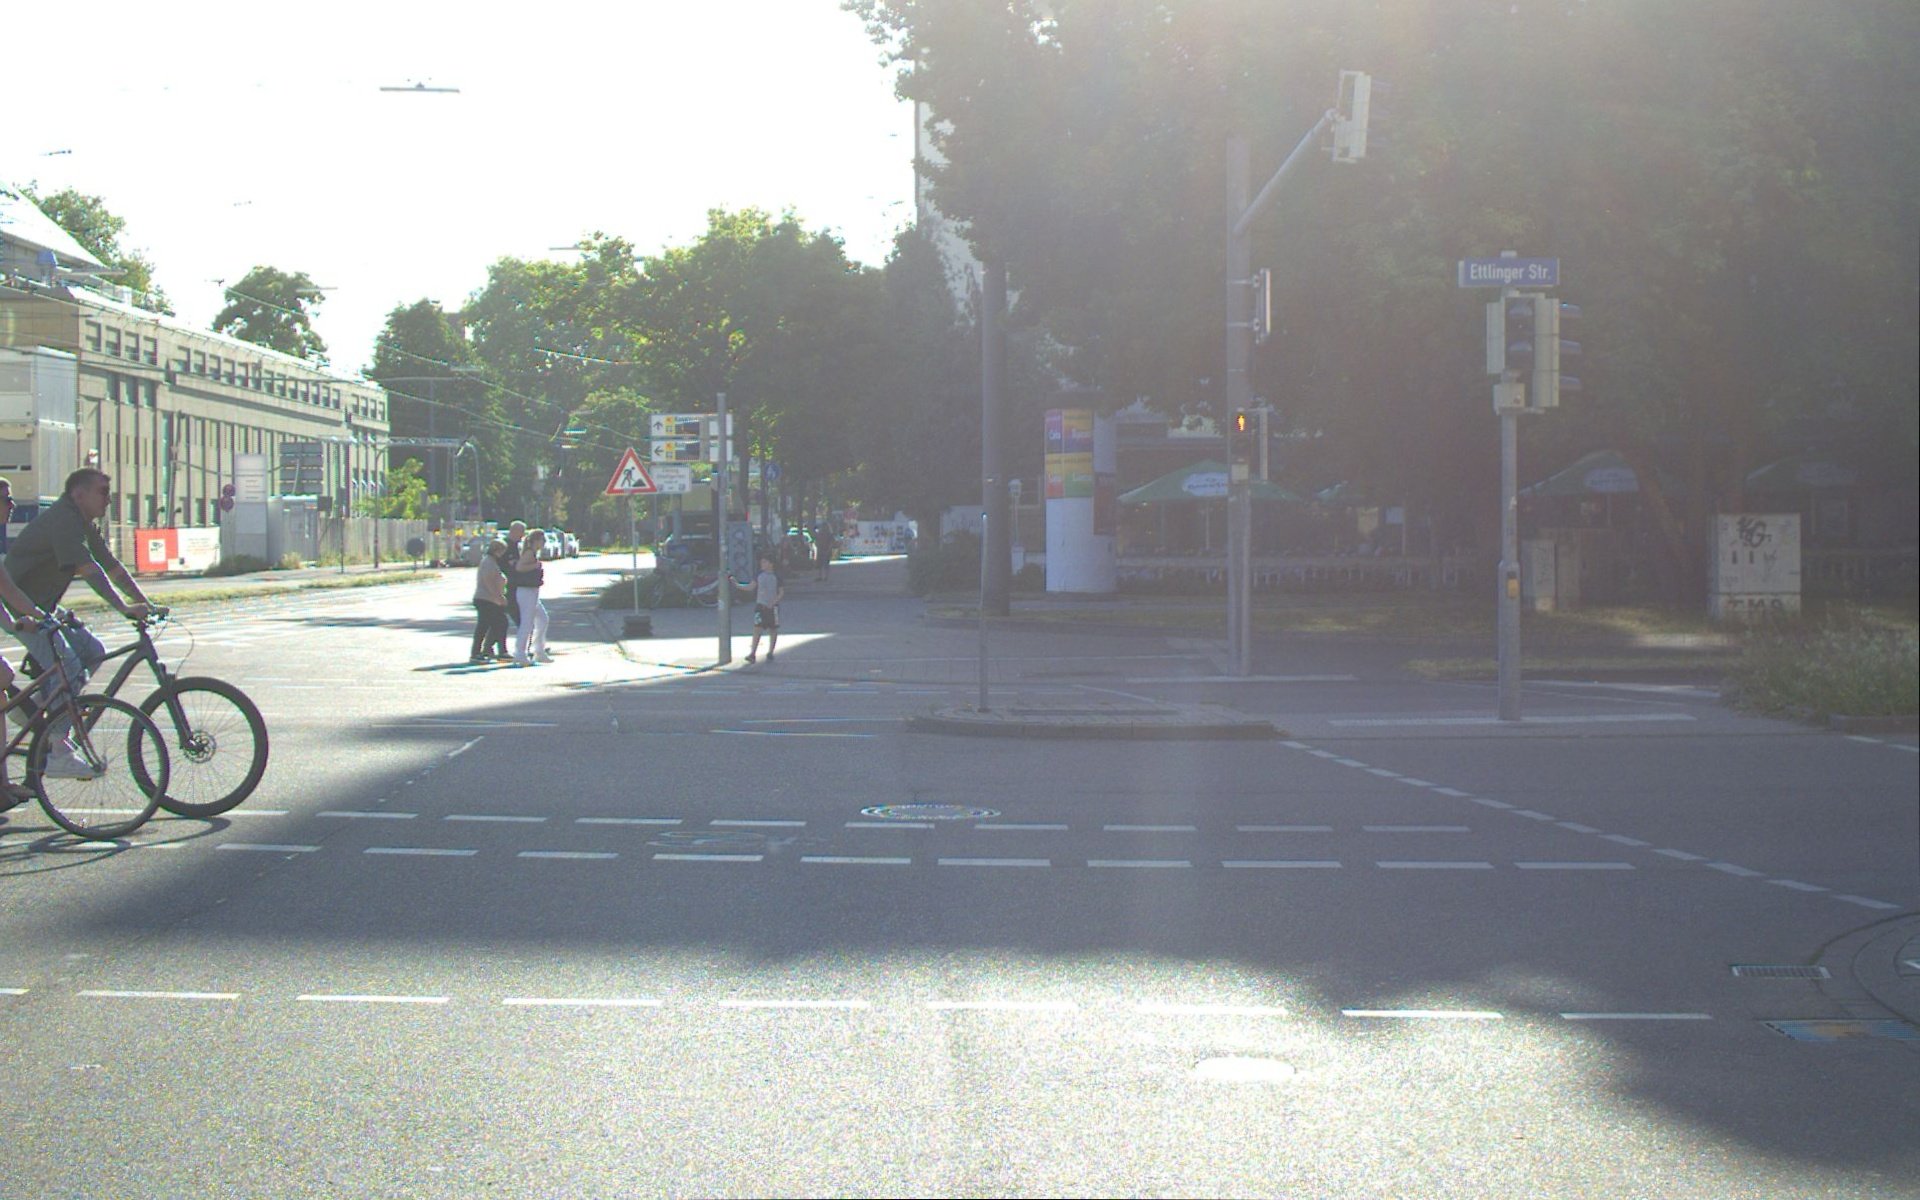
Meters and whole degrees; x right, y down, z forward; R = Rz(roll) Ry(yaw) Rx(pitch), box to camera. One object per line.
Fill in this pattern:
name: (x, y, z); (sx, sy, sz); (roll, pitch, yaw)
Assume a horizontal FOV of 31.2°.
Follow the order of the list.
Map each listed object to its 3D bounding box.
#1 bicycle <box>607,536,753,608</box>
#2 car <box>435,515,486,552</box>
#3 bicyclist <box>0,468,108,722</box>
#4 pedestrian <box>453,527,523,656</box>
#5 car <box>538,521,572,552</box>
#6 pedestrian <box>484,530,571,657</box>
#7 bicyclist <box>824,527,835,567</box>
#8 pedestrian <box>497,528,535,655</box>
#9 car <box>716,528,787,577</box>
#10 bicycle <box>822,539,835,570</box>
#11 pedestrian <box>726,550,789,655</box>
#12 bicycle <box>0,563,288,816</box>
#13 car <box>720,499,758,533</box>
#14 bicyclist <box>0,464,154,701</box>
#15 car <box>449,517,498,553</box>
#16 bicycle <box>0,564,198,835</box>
bicycle: (-5.472, -0.554, 67.154); (2.748, 1.363, 0.630); (1, 0, 11)
car: (-22.640, -2.996, 155.944); (1.731, 1.647, 4.000); (0, 1, -1)
bicyclist: (-4.718, -0.028, 16.812); (0.925, 1.214, 0.797); (0, 1, -3)
pedestrian: (-6.016, -0.112, 43.831); (0.795, 1.634, 0.533); (0, 1, 2)
car: (-22.834, -3.588, 193.806); (1.483, 1.744, 4.000); (-1, 1, -1)
pedestrian: (-5.447, -0.085, 43.323); (0.984, 1.582, 0.660); (0, 0, 1)
bicyclist: (-3.733, -1.518, 98.390); (0.318, 1.123, 0.291); (-1, 1, -1)
pedestrian: (-5.803, -0.114, 44.922); (0.441, 1.657, 0.376); (-1, 1, -1)
car: (-5.552, -1.286, 91.812); (1.819, 1.274, 4.001); (0, 1, -3)
bicycle: (-3.759, -1.301, 98.515); (0.324, 0.865, 1.483); (-1, 1, -1)
pedestrian: (-2.608, 0.025, 44.387); (0.752, 1.328, 0.742); (0, 1, 1)
bicycle: (-4.602, 0.456, 18.074); (1.985, 1.287, 0.792); (0, 1, -2)
car: (-13.045, -4.949, 203.281); (1.993, 2.007, 4.000); (-1, 1, -1)
bicyclist: (-4.692, -0.097, 18.074); (0.720, 1.214, 0.798); (0, 1, -1)
car: (-22.649, -3.015, 160.205); (1.731, 1.647, 4.000); (0, 1, -1)
bicycle: (-4.734, 0.475, 16.821); (1.851, 1.287, 0.792); (0, 1, -4)
